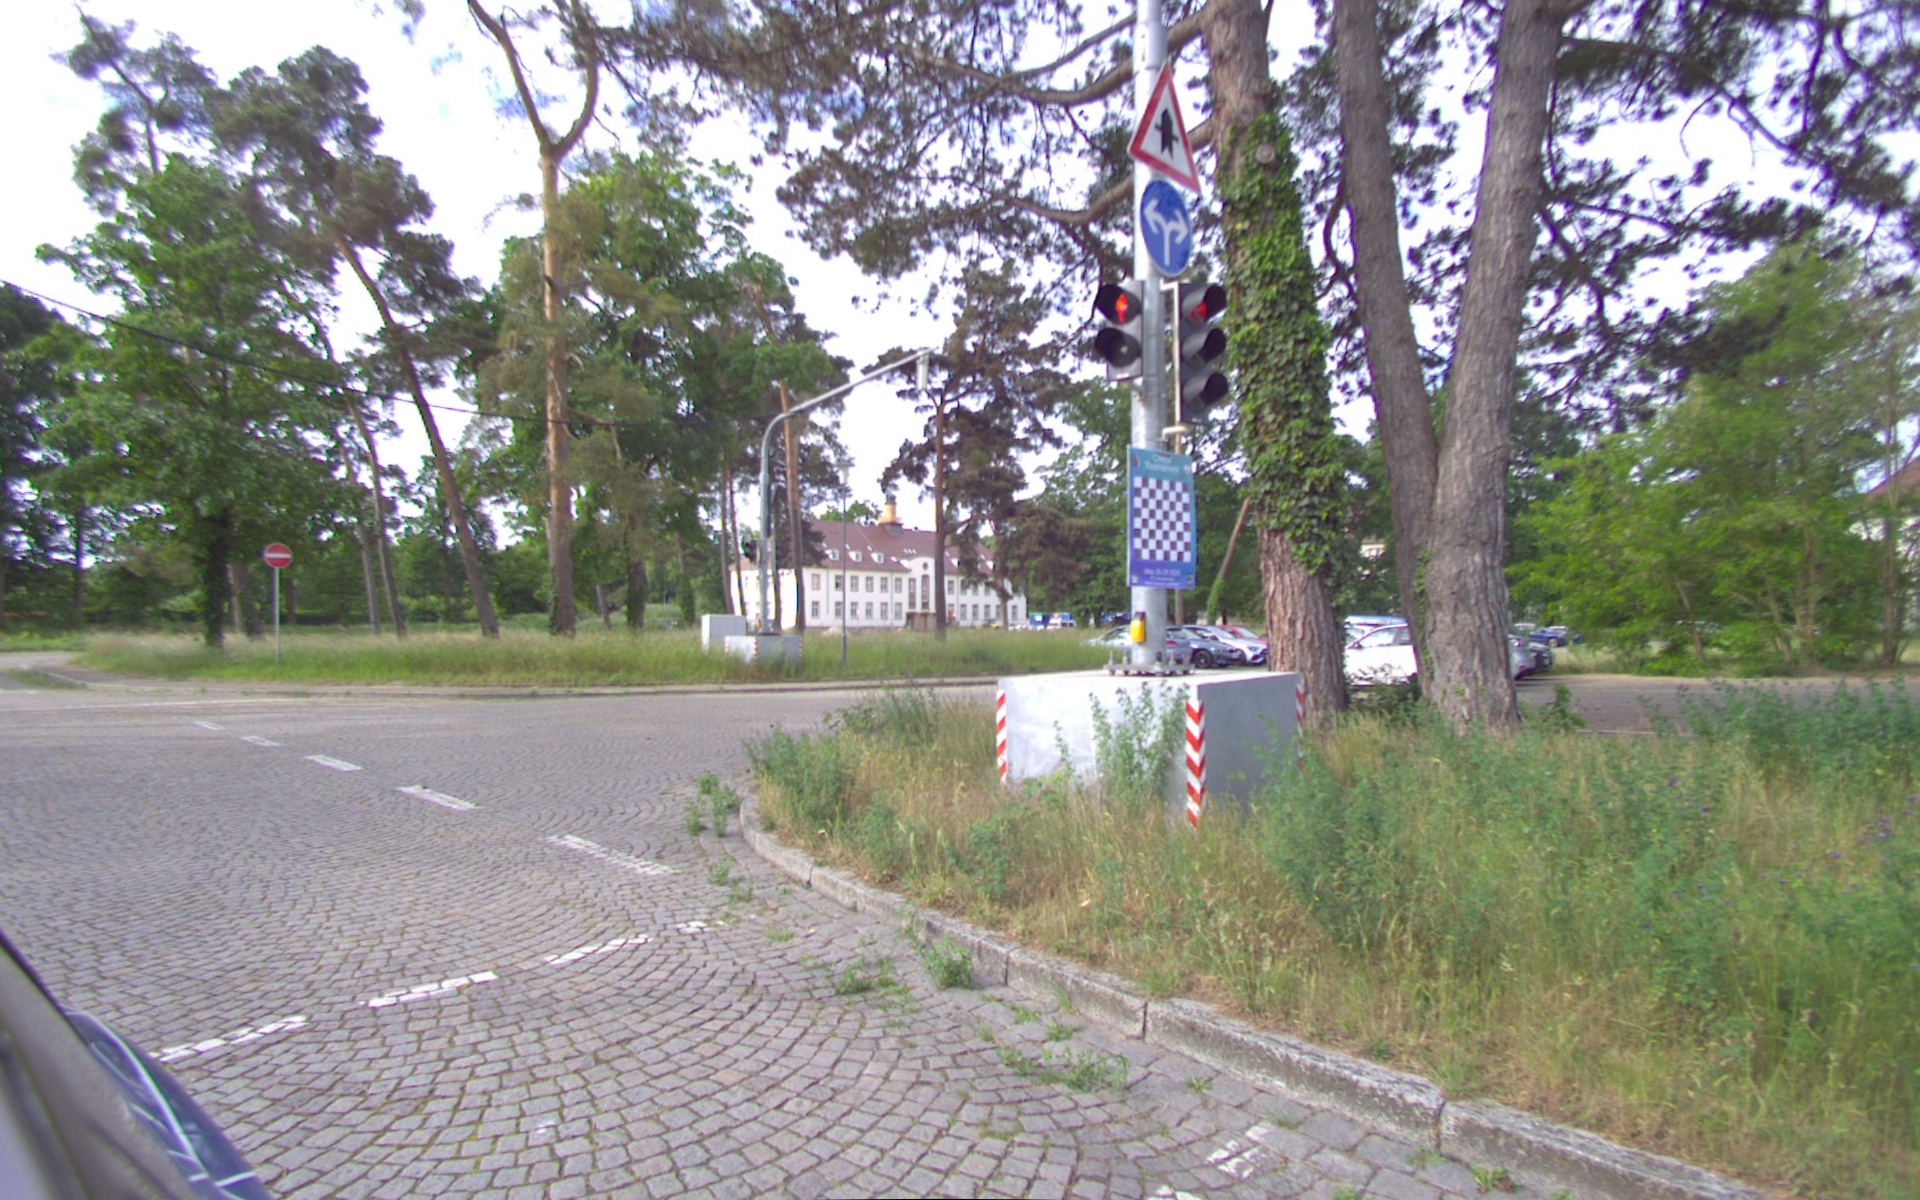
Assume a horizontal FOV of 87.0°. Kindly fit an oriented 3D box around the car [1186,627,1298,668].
[{"bbox_3d":[11.076,1.815,39.904,1.770,1.524,3.939,1,-2,-44],"label":"car"}]

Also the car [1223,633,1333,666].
[{"bbox_3d":[12.937,1.982,41.338,3.938,1.244,1.770,-1,-2,45],"label":"car"}]

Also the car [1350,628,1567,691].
[{"bbox_3d":[12.578,1.442,25.705,4.633,1.433,1.859,-1,-2,41],"label":"car"}]

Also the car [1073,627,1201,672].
[{"bbox_3d":[5.952,1.623,34.394,4.002,1.429,1.770,-1,-2,45],"label":"car"}]

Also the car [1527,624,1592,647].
[{"bbox_3d":[44.900,2.643,75.864,1.970,1.637,3.796,2,-2,-45],"label":"car"}]

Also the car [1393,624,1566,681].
[{"bbox_3d":[14.207,1.389,27.792,3.983,1.467,1.658,-1,-2,39],"label":"car"}]

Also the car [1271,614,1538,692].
[{"bbox_3d":[9.350,1.170,21.567,4.819,1.451,1.887,-5,-4,41],"label":"car"}]

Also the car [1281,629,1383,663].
[{"bbox_3d":[16.588,2.037,45.244,3.937,1.446,1.771,-1,-2,44],"label":"car"}]

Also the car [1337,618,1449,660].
[{"bbox_3d":[21.943,1.948,51.431,1.969,2.029,4.850,1,-2,-42],"label":"car"}]

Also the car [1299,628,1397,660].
[{"bbox_3d":[18.293,2.057,47.819,3.937,1.460,1.771,-1,-2,44],"label":"car"}]

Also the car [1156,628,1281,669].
[{"bbox_3d":[9.678,1.789,38.077,1.770,1.456,4.274,1,-2,-44],"label":"car"}]

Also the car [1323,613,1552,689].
[{"bbox_3d":[11.014,1.196,23.531,4.484,1.602,1.823,-3,-3,40],"label":"car"}]

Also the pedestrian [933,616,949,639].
[{"bbox_3d":[-1.903,2.710,99.799,1.185,2.194,1.041,-1,-2,44],"label":"pedestrian"}]

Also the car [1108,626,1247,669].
[{"bbox_3d":[7.718,1.658,36.244,4.635,1.456,1.771,-1,-2,44],"label":"car"}]

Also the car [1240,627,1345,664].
[{"bbox_3d":[14.318,1.934,43.704,3.938,1.487,1.770,-1,-2,45],"label":"car"}]
